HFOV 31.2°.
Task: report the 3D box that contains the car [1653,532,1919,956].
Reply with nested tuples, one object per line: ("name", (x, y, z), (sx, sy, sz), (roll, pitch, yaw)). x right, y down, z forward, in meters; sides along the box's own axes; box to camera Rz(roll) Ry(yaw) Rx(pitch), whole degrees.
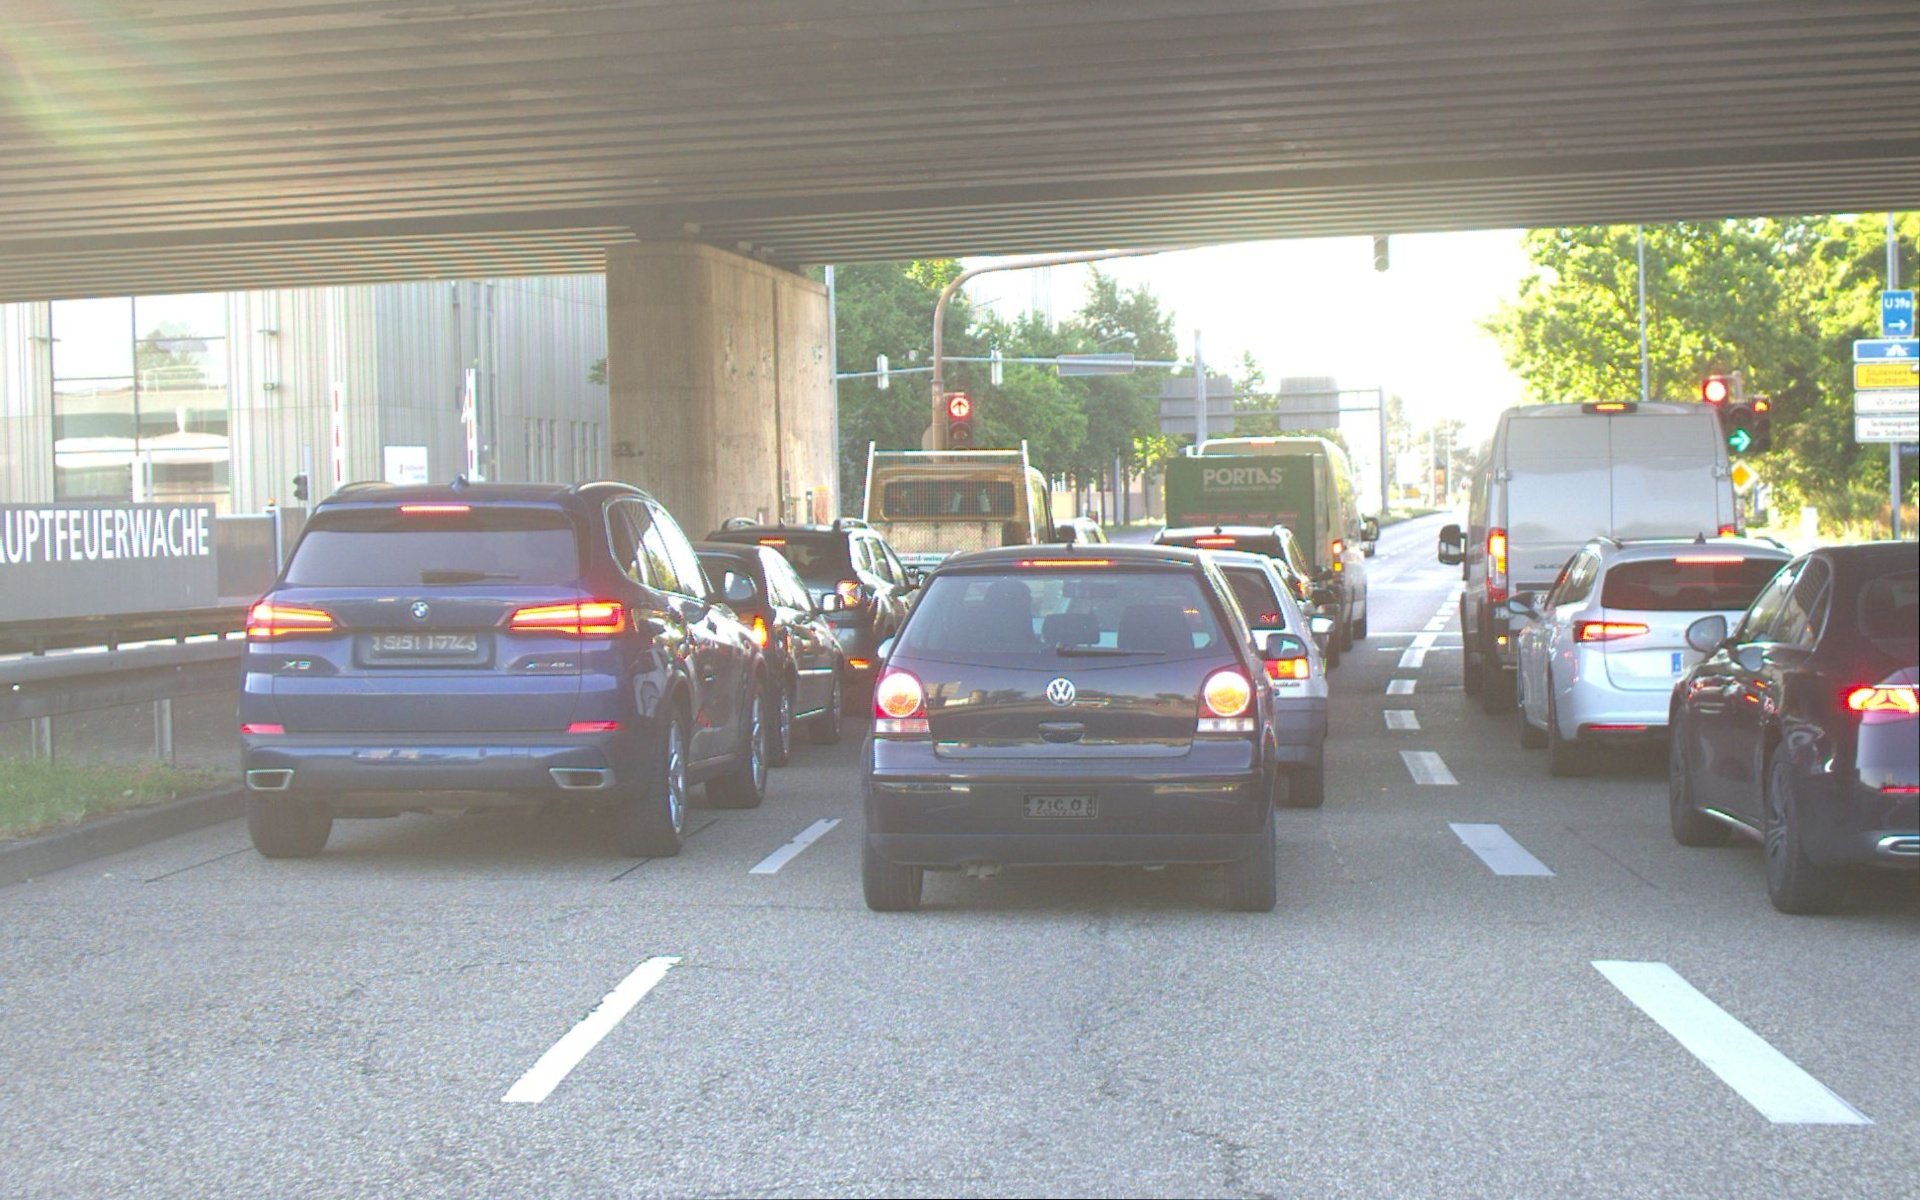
("car", (4.119, 0.470, 14.512), (1.741, 1.449, 4.605), (0, 2, 4))

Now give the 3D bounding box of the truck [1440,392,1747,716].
("truck", (5.383, -0.383, 29.755), (2.112, 2.511, 4.400), (-2, 0, 5))

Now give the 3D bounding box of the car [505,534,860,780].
("car", (-1.809, 0.351, 23.571), (1.841, 1.435, 3.675), (-4, 0, 3))

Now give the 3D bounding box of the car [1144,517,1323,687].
("car", (2.671, 0.015, 32.970), (1.582, 1.527, 3.831), (0, 0, 6))

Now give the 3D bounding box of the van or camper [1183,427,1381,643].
("van or camper", (4.231, -0.797, 44.343), (1.994, 2.562, 5.915), (-1, 0, 10))

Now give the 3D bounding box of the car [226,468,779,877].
("car", (-2.095, 0.308, 17.050), (1.829, 1.732, 4.461), (-1, 0, 4))

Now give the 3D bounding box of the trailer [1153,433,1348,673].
("trailer", (3.276, -0.503, 38.168), (1.864, 2.456, 3.831), (-2, 0, 8))

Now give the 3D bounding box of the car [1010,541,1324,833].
("car", (1.235, 0.427, 19.696), (1.547, 1.418, 3.417), (-4, 1, 5))

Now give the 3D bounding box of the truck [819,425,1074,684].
("truck", (-0.049, -0.464, 37.059), (2.028, 2.548, 5.536), (-1, 0, 7))

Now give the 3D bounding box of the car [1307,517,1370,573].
("car", (11.401, -1.624, 103.424), (1.801, 1.599, 3.999), (-1, 0, 7))

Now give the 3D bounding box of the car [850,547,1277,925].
("car", (0.460, 0.506, 14.723), (1.582, 1.404, 3.831), (0, 0, 2))

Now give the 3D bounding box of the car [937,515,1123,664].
("car", (0.989, -0.142, 46.274), (1.994, 1.894, 3.999), (-1, 0, 8))

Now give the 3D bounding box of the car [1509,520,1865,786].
("car", (4.527, 0.302, 21.895), (1.773, 1.490, 3.831), (-2, 0, 6))

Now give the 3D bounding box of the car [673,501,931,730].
("car", (-1.283, 0.115, 29.589), (1.841, 1.713, 4.000), (-4, 0, 1))
